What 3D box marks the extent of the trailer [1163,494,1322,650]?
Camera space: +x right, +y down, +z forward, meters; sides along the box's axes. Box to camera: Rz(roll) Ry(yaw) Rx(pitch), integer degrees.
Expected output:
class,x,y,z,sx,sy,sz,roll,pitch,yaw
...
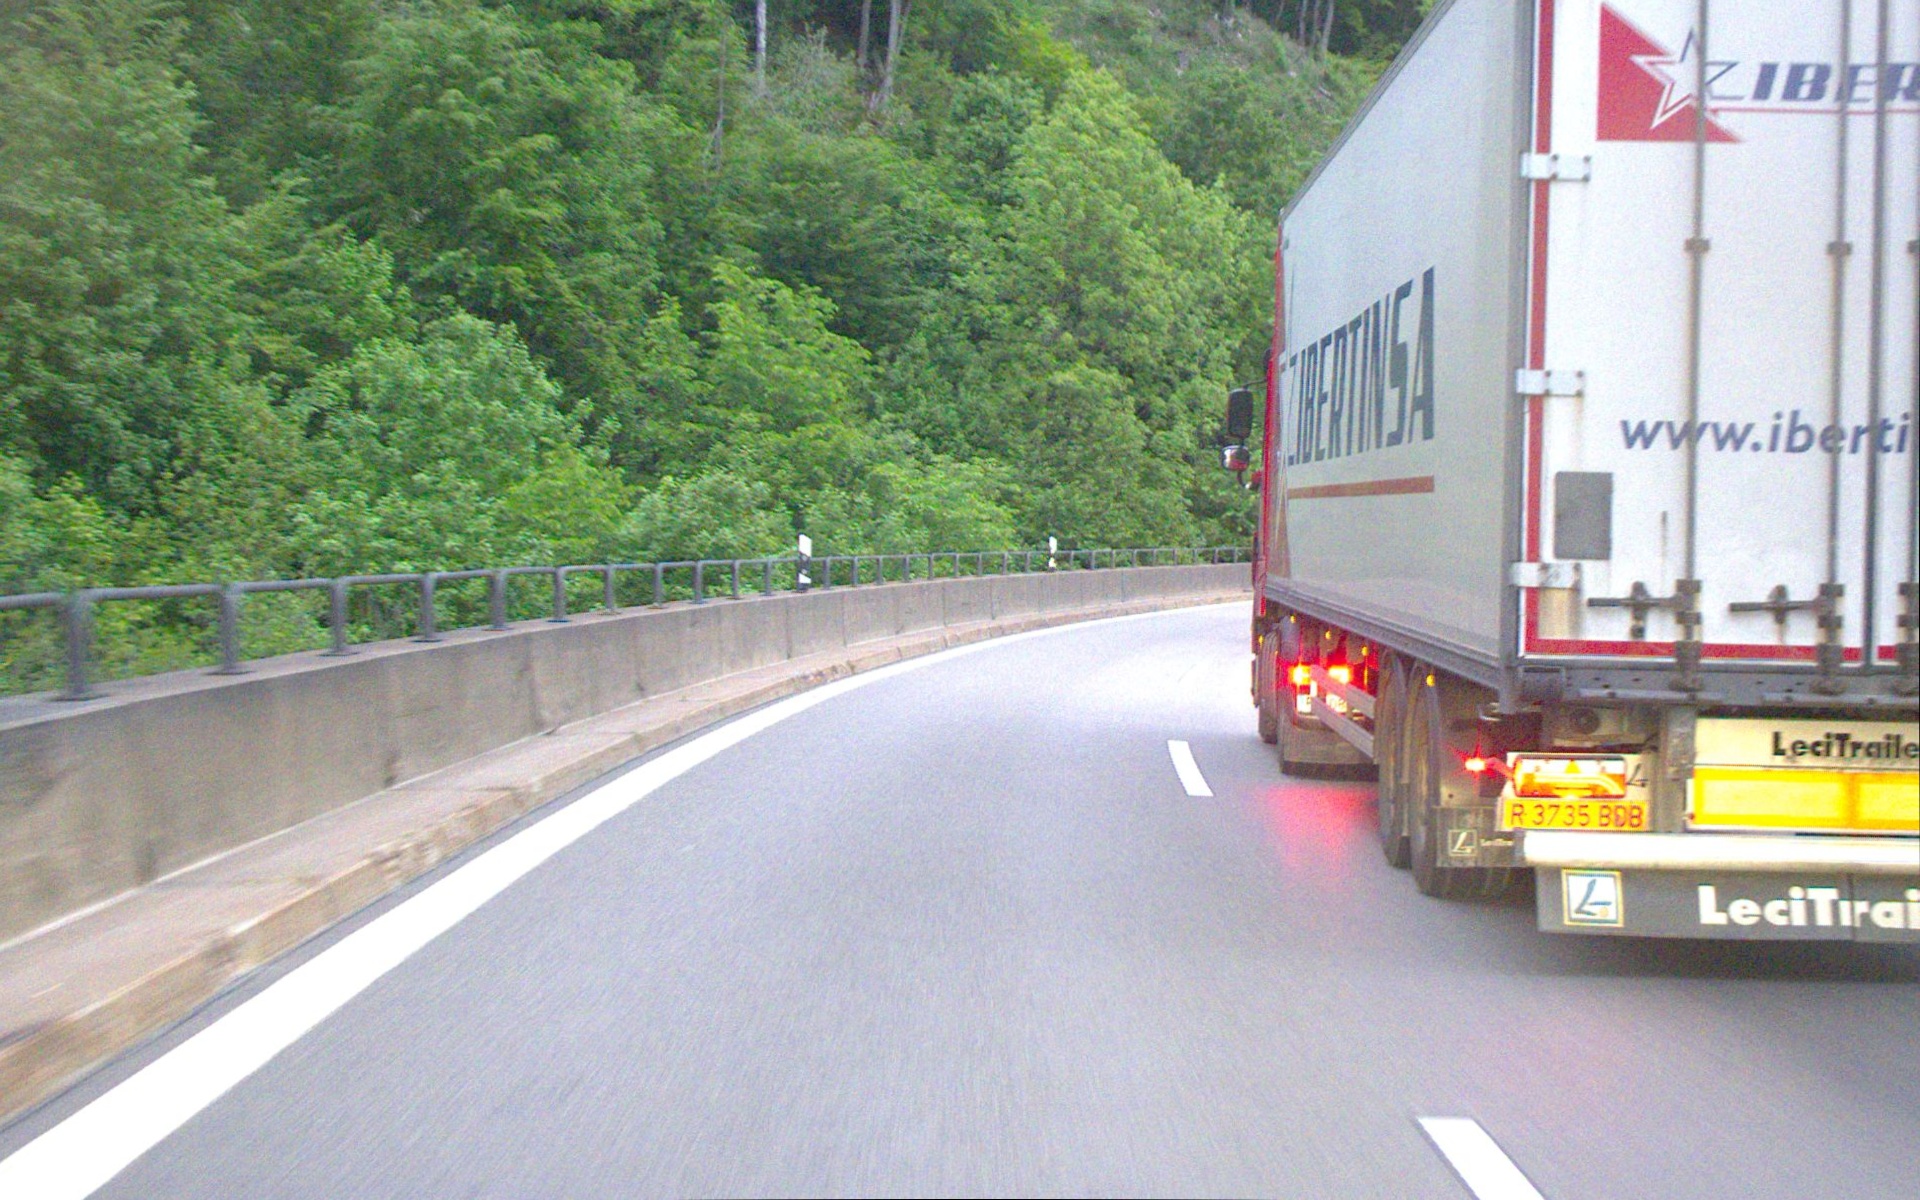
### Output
class,x,y,z,sx,sy,sz,roll,pitch,yaw
trailer,4.766,-0.528,57.215,2.055,2.366,5.936,3,2,9

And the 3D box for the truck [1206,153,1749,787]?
class,x,y,z,sx,sy,sz,roll,pitch,yaw
truck,3.642,-0.891,25.879,3.069,4.130,6.447,1,1,0

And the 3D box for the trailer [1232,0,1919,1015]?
class,x,y,z,sx,sy,sz,roll,pitch,yaw
trailer,3.504,-0.718,18.855,3.097,3.956,14.218,0,1,1
